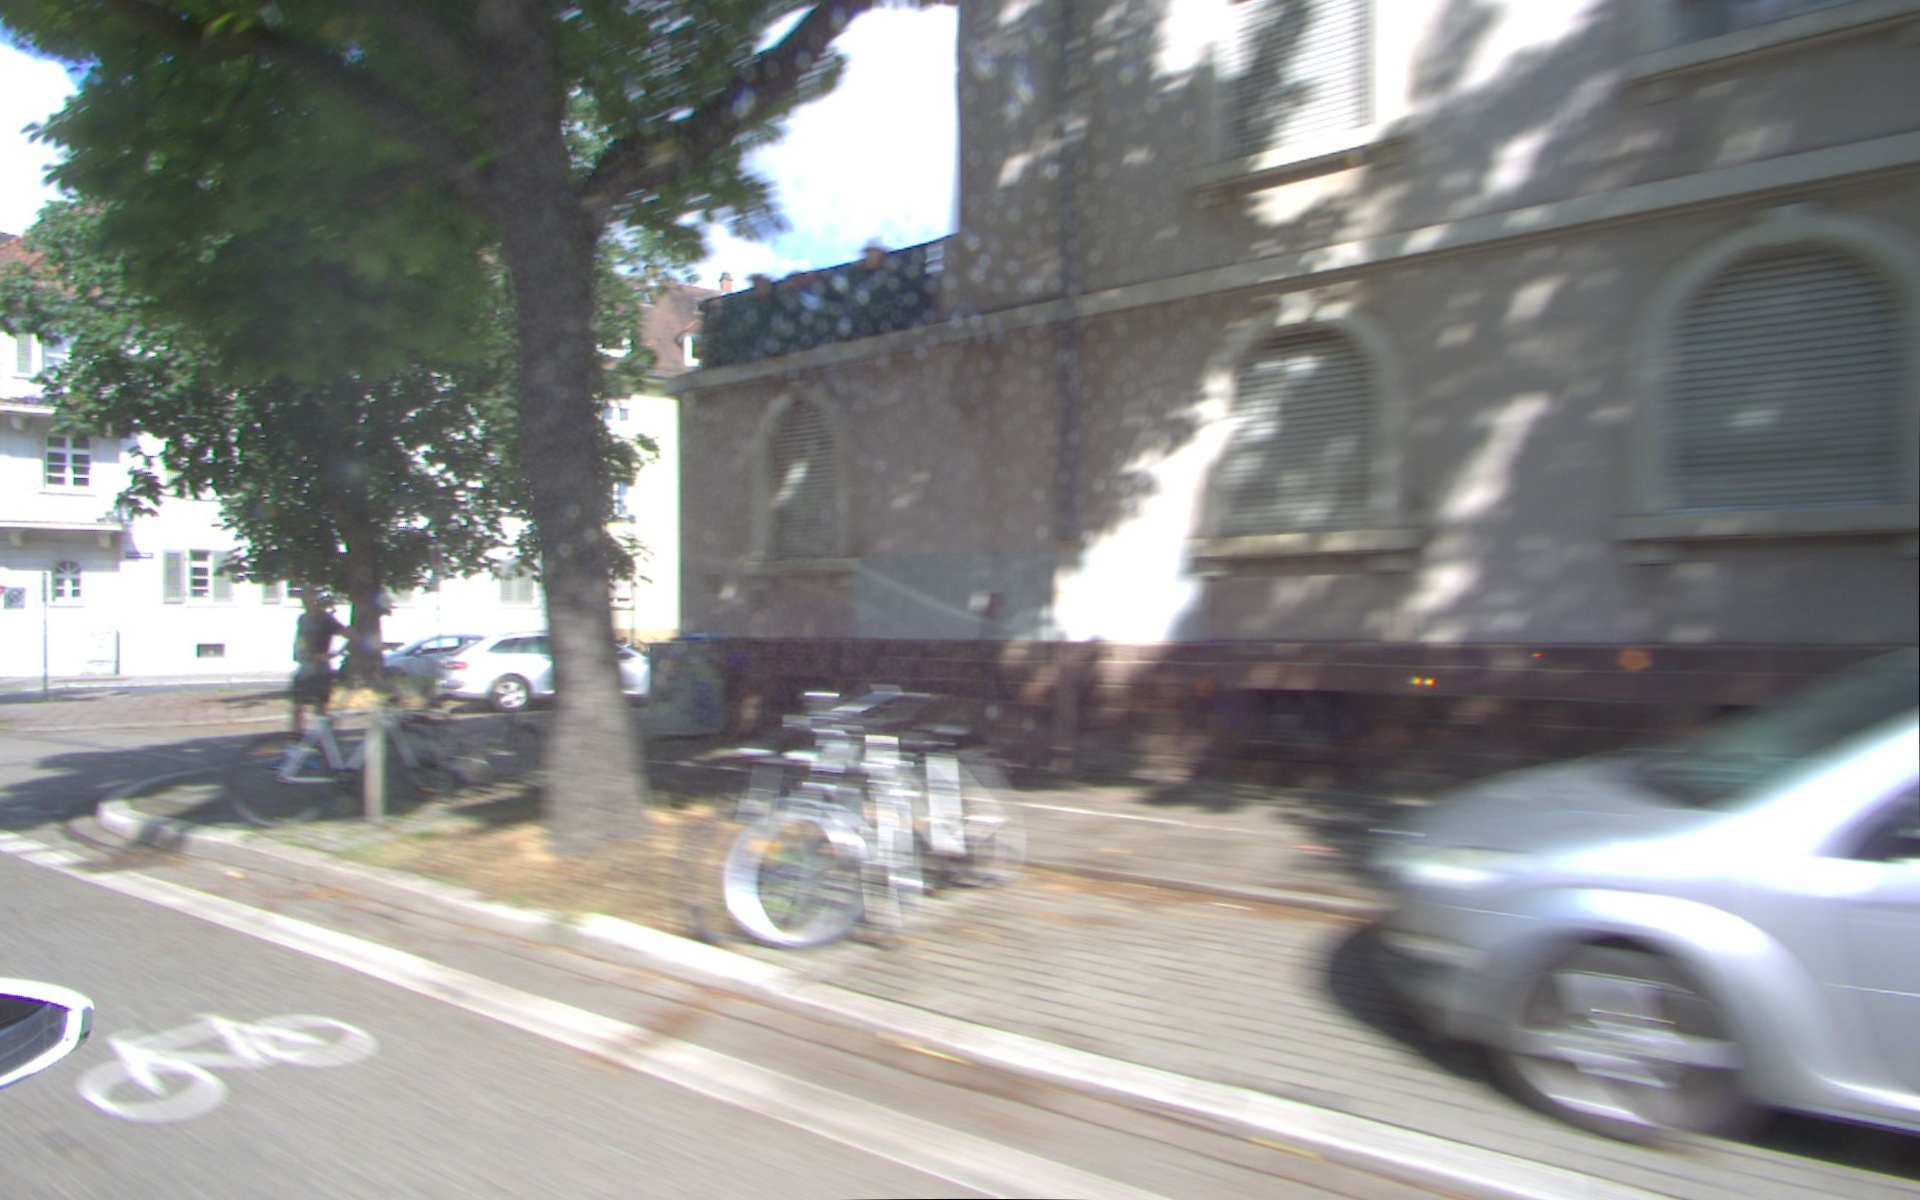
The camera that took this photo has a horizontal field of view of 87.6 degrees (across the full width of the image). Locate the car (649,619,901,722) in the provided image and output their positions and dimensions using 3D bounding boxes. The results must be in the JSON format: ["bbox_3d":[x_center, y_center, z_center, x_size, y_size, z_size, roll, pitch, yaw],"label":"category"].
[{"bbox_3d":[-2.856,1.042,15.658,3.519,1.424,1.698,1,-2,-35],"label":"car"}]

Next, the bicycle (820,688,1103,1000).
[{"bbox_3d":[0.107,1.014,4.751,0.396,1.086,1.900,0,-1,32],"label":"bicycle"}]

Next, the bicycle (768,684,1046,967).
[{"bbox_3d":[-0.174,1.021,5.117,0.396,1.086,1.900,0,-1,32],"label":"bicycle"}]

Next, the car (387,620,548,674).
[{"bbox_3d":[-13.767,1.296,28.055,3.942,1.429,1.644,1,-2,-30],"label":"car"}]

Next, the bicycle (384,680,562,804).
[{"bbox_3d":[-4.026,1.137,8.228,1.743,0.912,0.258,-1,0,24],"label":"bicycle"}]

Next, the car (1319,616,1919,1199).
[{"bbox_3d":[3.170,0.793,2.933,3.713,1.450,1.662,-1,1,33],"label":"car"}]

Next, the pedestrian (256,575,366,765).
[{"bbox_3d":[-6.684,0.710,10.309,0.866,1.859,0.609,-2,-1,30],"label":"pedestrian"}]

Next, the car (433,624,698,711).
[{"bbox_3d":[-7.521,1.234,19.193,4.510,1.494,1.860,1,-2,-31],"label":"car"}]

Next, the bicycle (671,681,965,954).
[{"bbox_3d":[-0.645,1.018,5.263,0.396,1.086,1.900,0,-1,32],"label":"bicycle"}]

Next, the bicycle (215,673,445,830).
[{"bbox_3d":[-4.669,1.083,7.521,0.255,0.996,1.487,-1,-1,34],"label":"bicycle"}]
